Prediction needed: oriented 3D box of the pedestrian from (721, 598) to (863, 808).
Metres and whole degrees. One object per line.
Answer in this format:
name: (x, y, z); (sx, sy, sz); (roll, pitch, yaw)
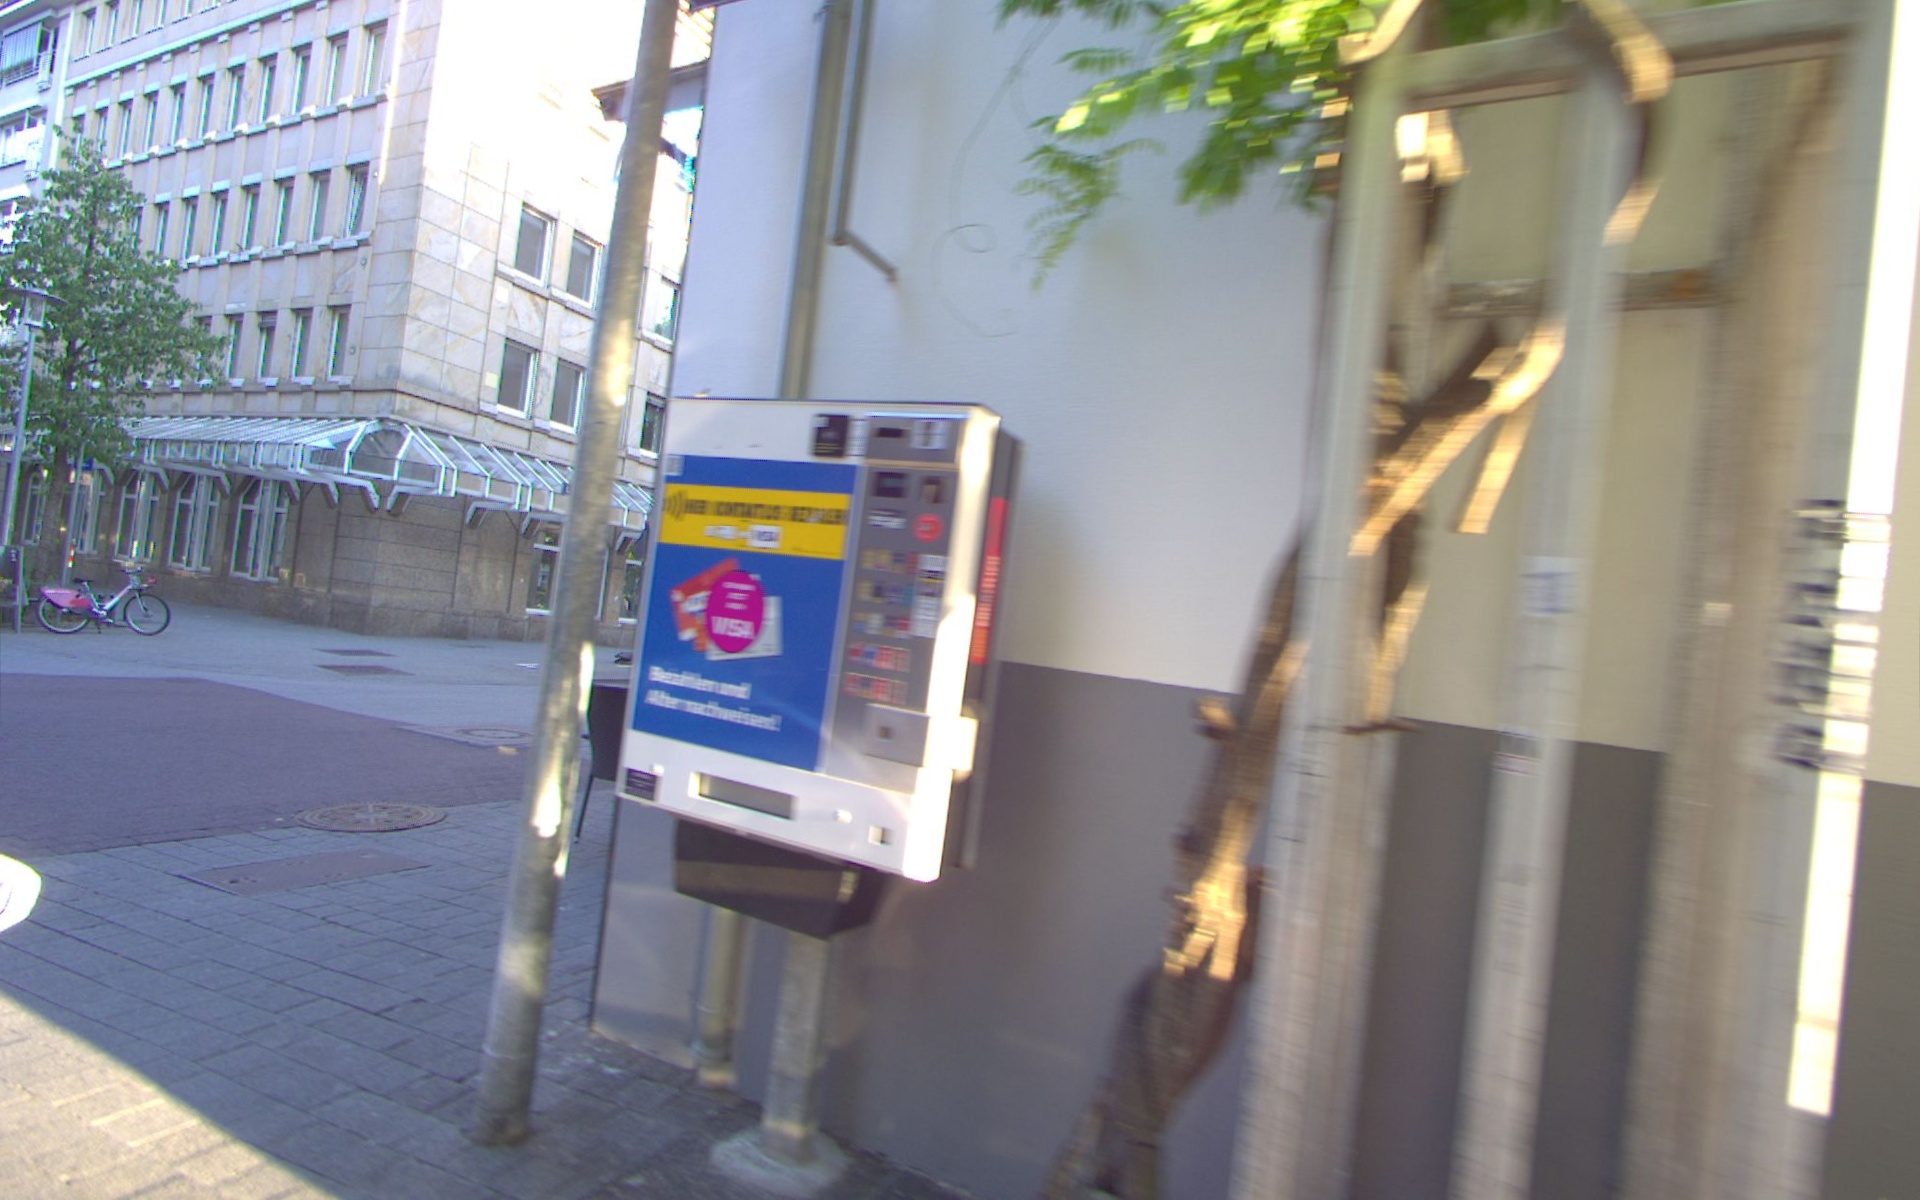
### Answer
pedestrian: (-1.361, 0.812, 8.155); (0.782, 1.554, 0.619); (6, -1, 38)

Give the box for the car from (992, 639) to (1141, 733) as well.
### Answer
car: (2.367, 1.813, 21.401); (1.773, 1.608, 3.938); (6, -2, 27)

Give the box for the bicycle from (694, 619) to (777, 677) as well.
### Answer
bicycle: (-5.227, 1.110, 23.359); (1.916, 1.063, 0.543); (7, 0, 30)

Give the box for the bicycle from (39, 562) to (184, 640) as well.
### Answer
bicycle: (-13.232, 0.028, 15.715); (1.650, 1.064, 0.654); (4, 2, -45)

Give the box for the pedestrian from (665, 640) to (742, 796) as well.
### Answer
pedestrian: (-2.015, 0.911, 7.879); (0.405, 1.138, 0.471); (7, -1, -22)

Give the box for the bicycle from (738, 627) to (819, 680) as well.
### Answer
bicycle: (-4.442, 1.296, 24.537); (1.914, 1.040, 0.513); (6, -1, 26)

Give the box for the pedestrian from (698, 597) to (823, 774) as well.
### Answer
pedestrian: (-1.894, 0.800, 9.563); (0.706, 1.549, 0.722); (6, -1, 35)

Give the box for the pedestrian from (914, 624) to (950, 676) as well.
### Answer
pedestrian: (-1.005, 1.804, 36.022); (0.759, 1.752, 0.914); (6, -1, 27)

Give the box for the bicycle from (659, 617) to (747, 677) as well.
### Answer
bicycle: (-5.694, 1.029, 22.238); (1.915, 1.063, 0.543); (7, 0, 29)

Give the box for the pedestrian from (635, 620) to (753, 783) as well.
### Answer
pedestrian: (-2.222, 0.845, 8.424); (0.508, 1.262, 0.661); (6, -1, 44)
